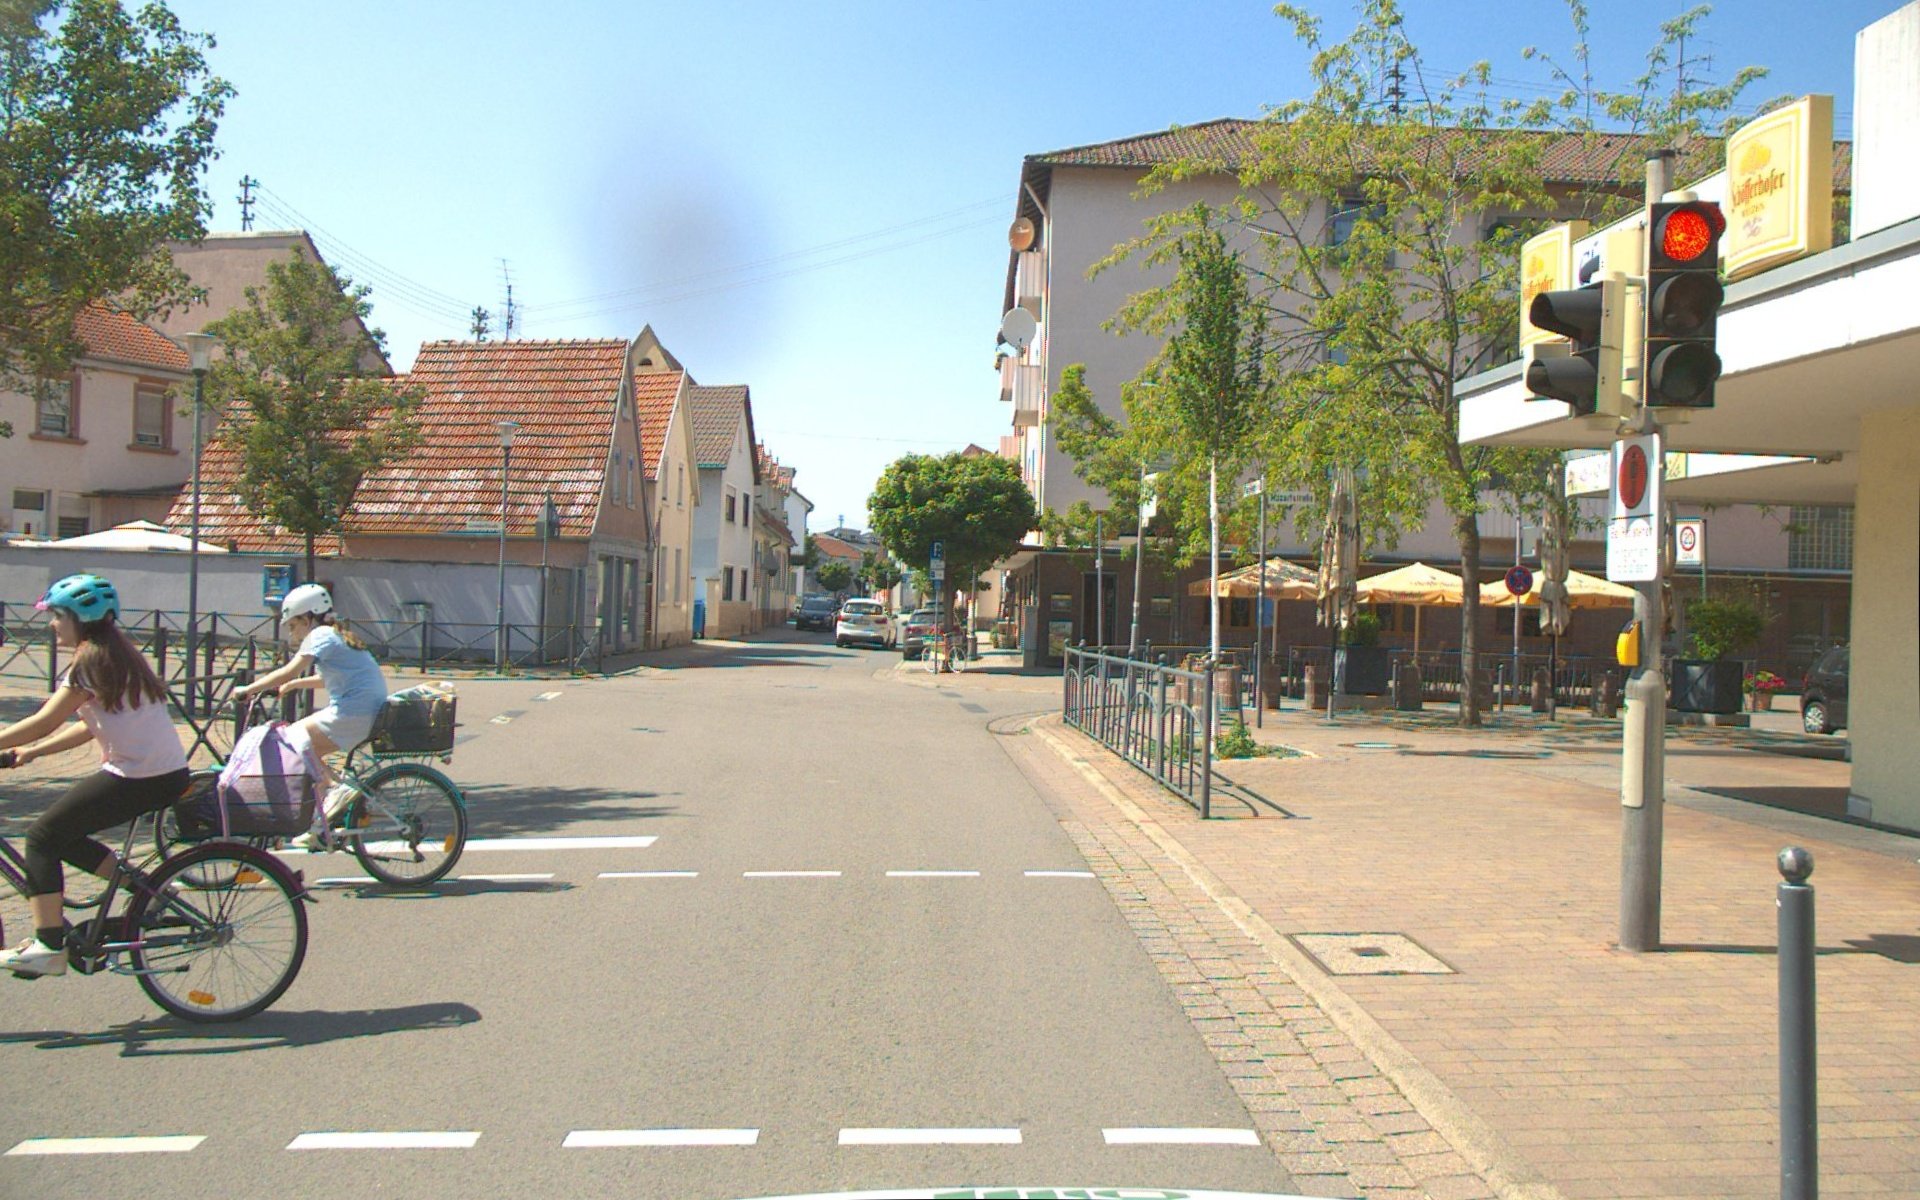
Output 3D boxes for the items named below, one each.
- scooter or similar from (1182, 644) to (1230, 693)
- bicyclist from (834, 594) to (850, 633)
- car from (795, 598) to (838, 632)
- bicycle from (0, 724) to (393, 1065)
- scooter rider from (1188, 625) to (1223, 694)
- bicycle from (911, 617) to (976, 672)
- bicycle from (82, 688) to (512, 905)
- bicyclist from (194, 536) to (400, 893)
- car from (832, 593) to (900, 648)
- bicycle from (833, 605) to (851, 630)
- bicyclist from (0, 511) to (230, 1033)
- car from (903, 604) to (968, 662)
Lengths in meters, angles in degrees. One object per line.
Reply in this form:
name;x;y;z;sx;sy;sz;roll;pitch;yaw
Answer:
scooter or similar;4.737;1.312;31.852;0.376;0.889;0.877;2;-1;-41
bicyclist;-5.261;0.596;74.008;0.655;1.720;0.761;1;0;-1
car;-6.762;0.705;78.334;1.679;1.543;3.786;2;0;0
bicycle;-2.906;0.951;5.486;1.857;0.974;0.674;-1;0;-13
scooter rider;4.727;1.149;31.867;0.513;1.308;0.412;2;-1;-41
bicycle;-0.404;1.038;38.952;0.523;1.214;1.648;2;-1;-44
bicycle;-3.247;0.952;8.215;1.851;0.974;0.676;-1;0;-1
bicyclist;-3.274;0.544;8.221;0.744;1.693;0.671;0;0;-1
car;-3.120;0.663;55.646;1.796;1.680;4.001;3;0;2
bicycle;-5.268;0.779;73.927;0.660;1.113;1.895;0;0;-1
bicyclist;-2.897;0.526;5.462;0.746;1.609;0.669;-1;0;-13
car;-0.667;0.910;47.721;1.768;1.528;4.000;2;0;0
